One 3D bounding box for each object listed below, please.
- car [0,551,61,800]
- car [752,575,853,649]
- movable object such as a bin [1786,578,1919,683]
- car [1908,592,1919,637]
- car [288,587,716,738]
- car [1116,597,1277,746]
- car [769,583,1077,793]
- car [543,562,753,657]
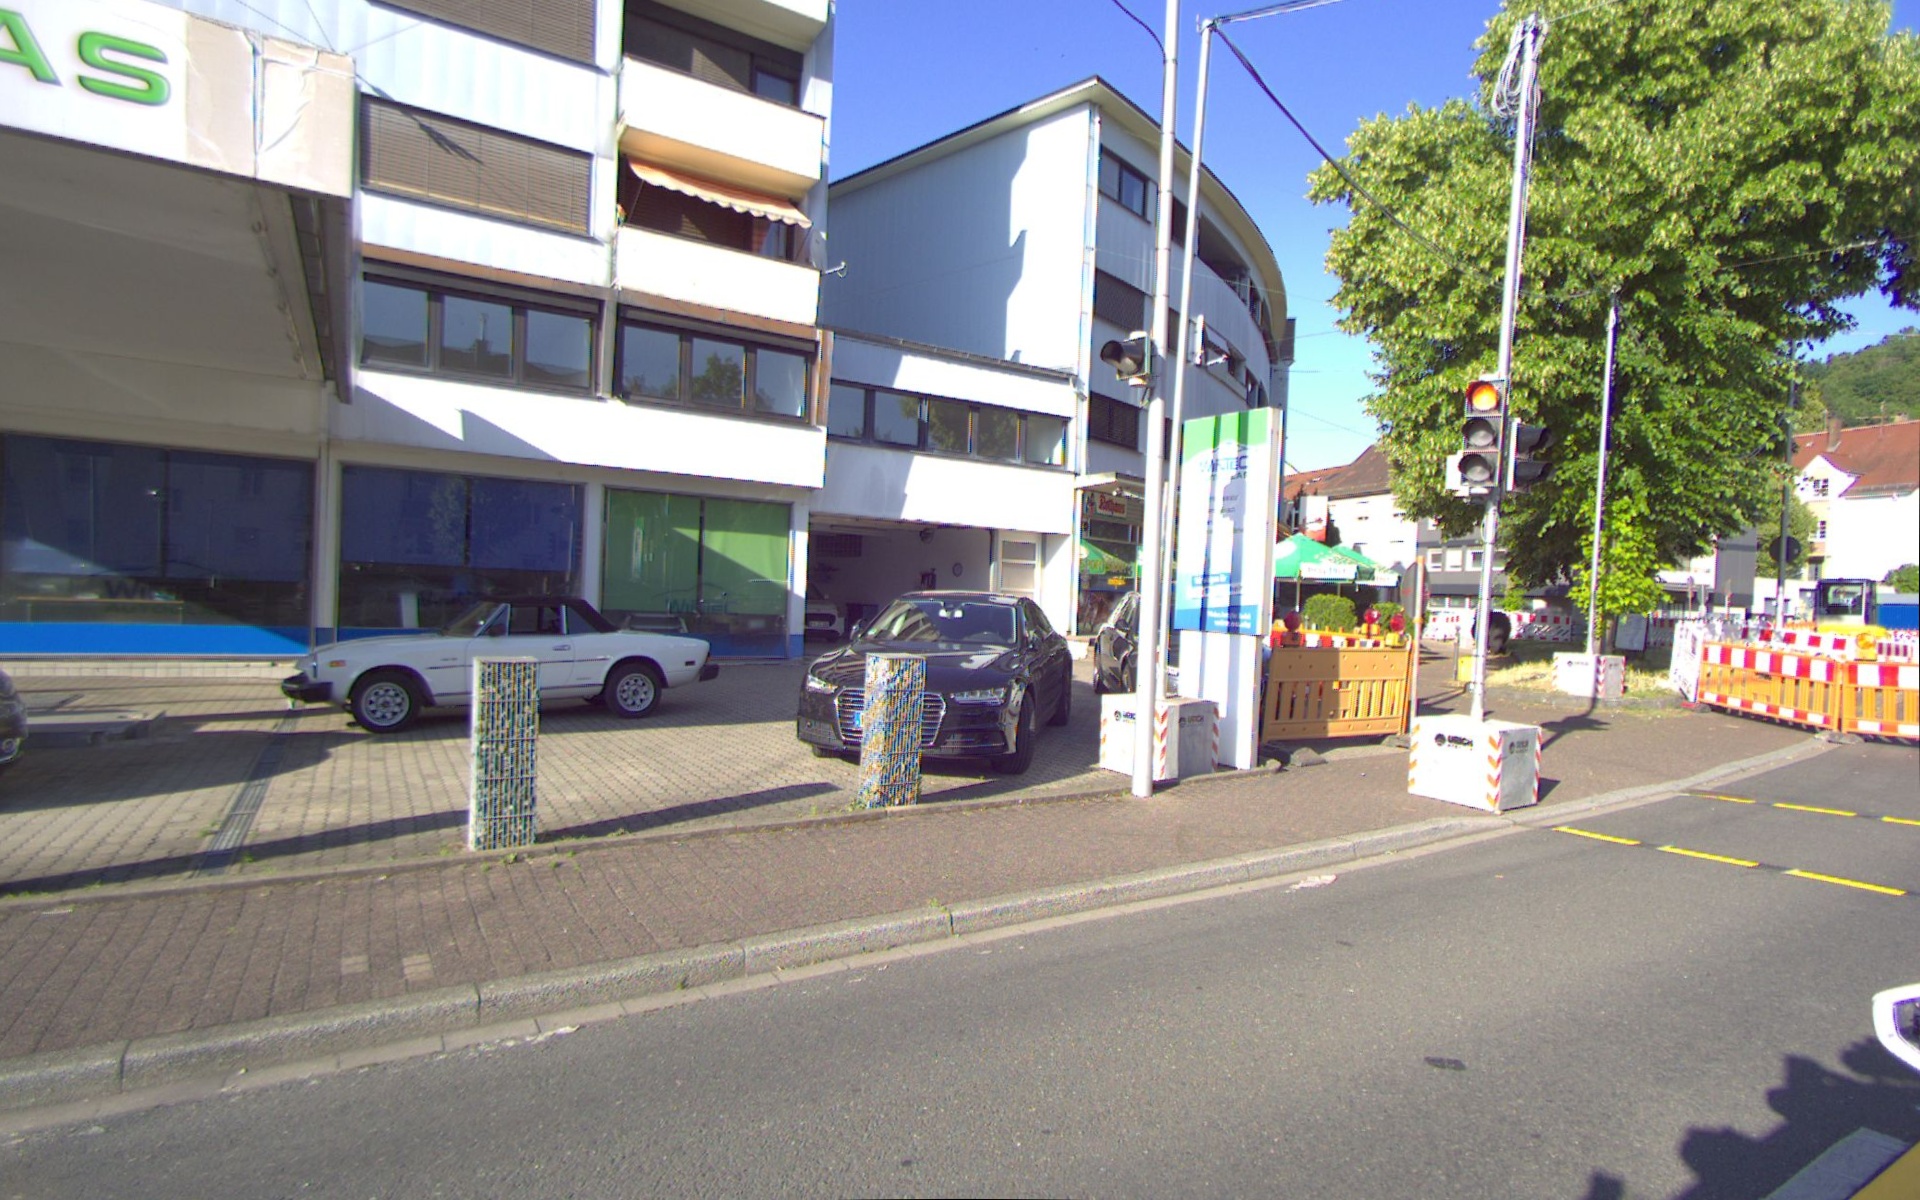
[{"bbox_3d":[-7.485,0.403,5.863,3.305,1.506,1.543,2,0,8],"label":"car"},{"bbox_3d":[-3.896,0.246,24.385,1.550,1.629,3.734,2,1,-23],"label":"car"},{"bbox_3d":[21.545,0.699,24.137,3.882,2.356,1.635,1,0,-36],"label":"movable object such as a bin"},{"bbox_3d":[49.515,0.789,48.426,6.043,2.149,2.586,2,0,-12],"label":"car"},{"bbox_3d":[-4.678,0.586,10.492,3.865,1.315,1.511,1,0,-35],"label":"car"},{"bbox_3d":[2.755,0.741,12.084,1.564,1.457,3.887,1,0,11],"label":"car"},{"bbox_3d":[-0.028,0.645,9.575,1.893,1.457,4.692,1,0,11],"label":"car"},{"bbox_3d":[-6.103,0.211,19.714,3.593,1.696,1.707,2,0,-34],"label":"car"}]
